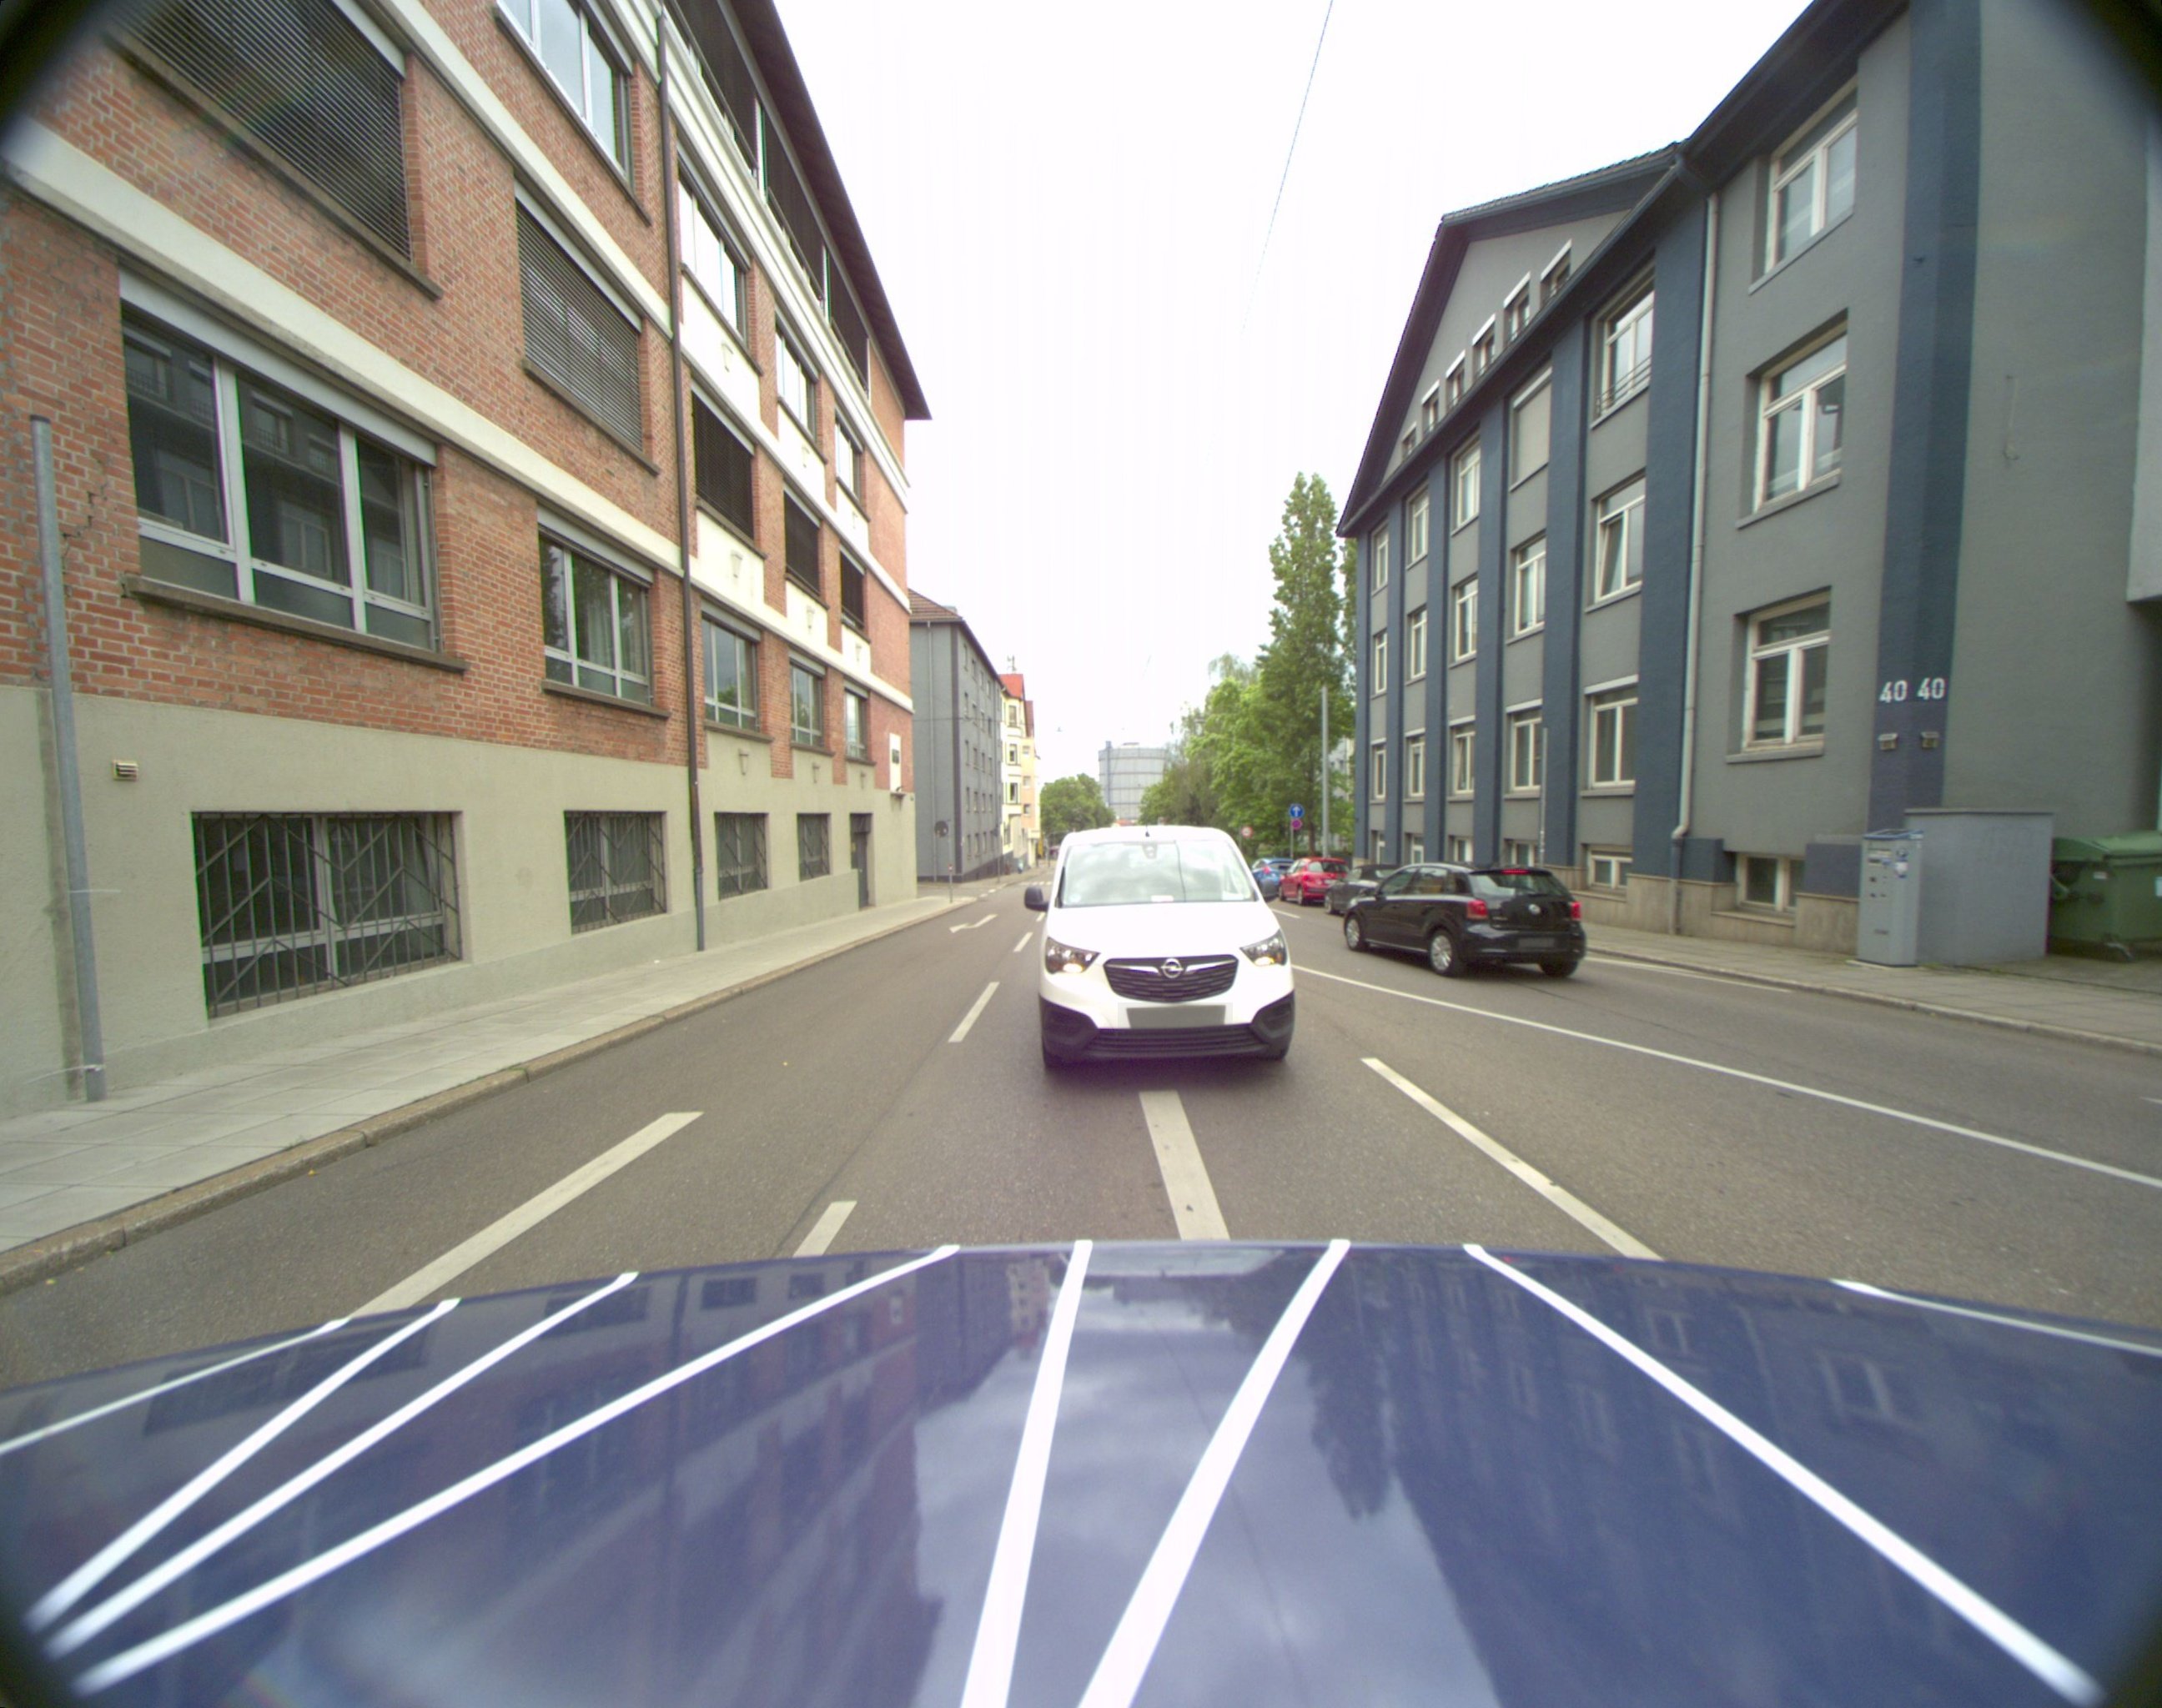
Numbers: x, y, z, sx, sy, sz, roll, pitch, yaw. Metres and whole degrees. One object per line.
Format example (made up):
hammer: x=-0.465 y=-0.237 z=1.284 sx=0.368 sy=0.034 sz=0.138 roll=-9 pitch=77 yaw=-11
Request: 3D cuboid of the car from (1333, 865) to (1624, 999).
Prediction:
car: x=5.072 y=0.909 z=10.357 sx=1.678 sy=1.392 sz=3.792 roll=2 pitch=0 yaw=-5

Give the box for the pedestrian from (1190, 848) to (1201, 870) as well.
pedestrian: x=9.824 y=0.446 z=65.241 sx=0.746 sy=1.839 sz=0.776 roll=-1 pitch=1 yaw=2

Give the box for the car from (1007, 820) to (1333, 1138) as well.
car: x=0.570 y=0.728 z=6.926 sx=1.840 sy=1.797 sz=4.939 roll=-2 pitch=0 yaw=1

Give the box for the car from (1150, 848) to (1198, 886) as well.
car: x=4.523 y=0.572 z=37.438 sx=1.788 sy=1.697 sz=4.306 roll=2 pitch=1 yaw=0

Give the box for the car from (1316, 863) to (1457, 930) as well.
car: x=7.179 y=0.938 z=18.317 sx=1.724 sy=1.319 sz=4.041 roll=2 pitch=0 yaw=0

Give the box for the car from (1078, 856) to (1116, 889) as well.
car: x=0.797 y=0.851 z=36.632 sx=1.724 sy=1.486 sz=3.727 roll=1 pitch=0 yaw=2

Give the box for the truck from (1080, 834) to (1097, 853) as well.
truck: x=1.476 y=-1.990 z=148.924 sx=2.980 sy=3.394 sz=9.358 roll=-2 pitch=0 yaw=1

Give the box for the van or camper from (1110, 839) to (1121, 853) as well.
van or camper: x=6.783 y=-1.551 z=149.435 sx=1.914 sy=2.754 sz=5.925 roll=1 pitch=0 yaw=2

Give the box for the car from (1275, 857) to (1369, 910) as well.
car: x=7.493 y=0.865 z=24.032 sx=1.819 sy=1.465 sz=3.869 roll=2 pitch=0 yaw=2

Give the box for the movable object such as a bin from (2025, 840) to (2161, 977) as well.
movable object such as a bin: x=12.060 y=0.598 z=8.778 sx=1.267 sy=1.448 sz=0.784 roll=-3 pitch=2 yaw=4

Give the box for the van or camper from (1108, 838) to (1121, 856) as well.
van or camper: x=5.230 y=-1.021 z=119.586 sx=1.914 sy=2.754 sz=5.925 roll=1 pitch=0 yaw=2

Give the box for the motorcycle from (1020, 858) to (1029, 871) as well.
motorcycle: x=-5.051 y=0.914 z=68.224 sx=0.566 sy=1.105 sz=1.653 roll=4 pitch=0 yaw=2

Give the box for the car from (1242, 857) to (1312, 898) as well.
car: x=7.541 y=0.851 z=29.530 sx=1.724 sy=1.445 sz=3.727 roll=1 pitch=0 yaw=0

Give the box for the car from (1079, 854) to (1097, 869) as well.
car: x=0.721 y=0.729 z=78.296 sx=1.724 sy=1.486 sz=3.727 roll=1 pitch=0 yaw=2
